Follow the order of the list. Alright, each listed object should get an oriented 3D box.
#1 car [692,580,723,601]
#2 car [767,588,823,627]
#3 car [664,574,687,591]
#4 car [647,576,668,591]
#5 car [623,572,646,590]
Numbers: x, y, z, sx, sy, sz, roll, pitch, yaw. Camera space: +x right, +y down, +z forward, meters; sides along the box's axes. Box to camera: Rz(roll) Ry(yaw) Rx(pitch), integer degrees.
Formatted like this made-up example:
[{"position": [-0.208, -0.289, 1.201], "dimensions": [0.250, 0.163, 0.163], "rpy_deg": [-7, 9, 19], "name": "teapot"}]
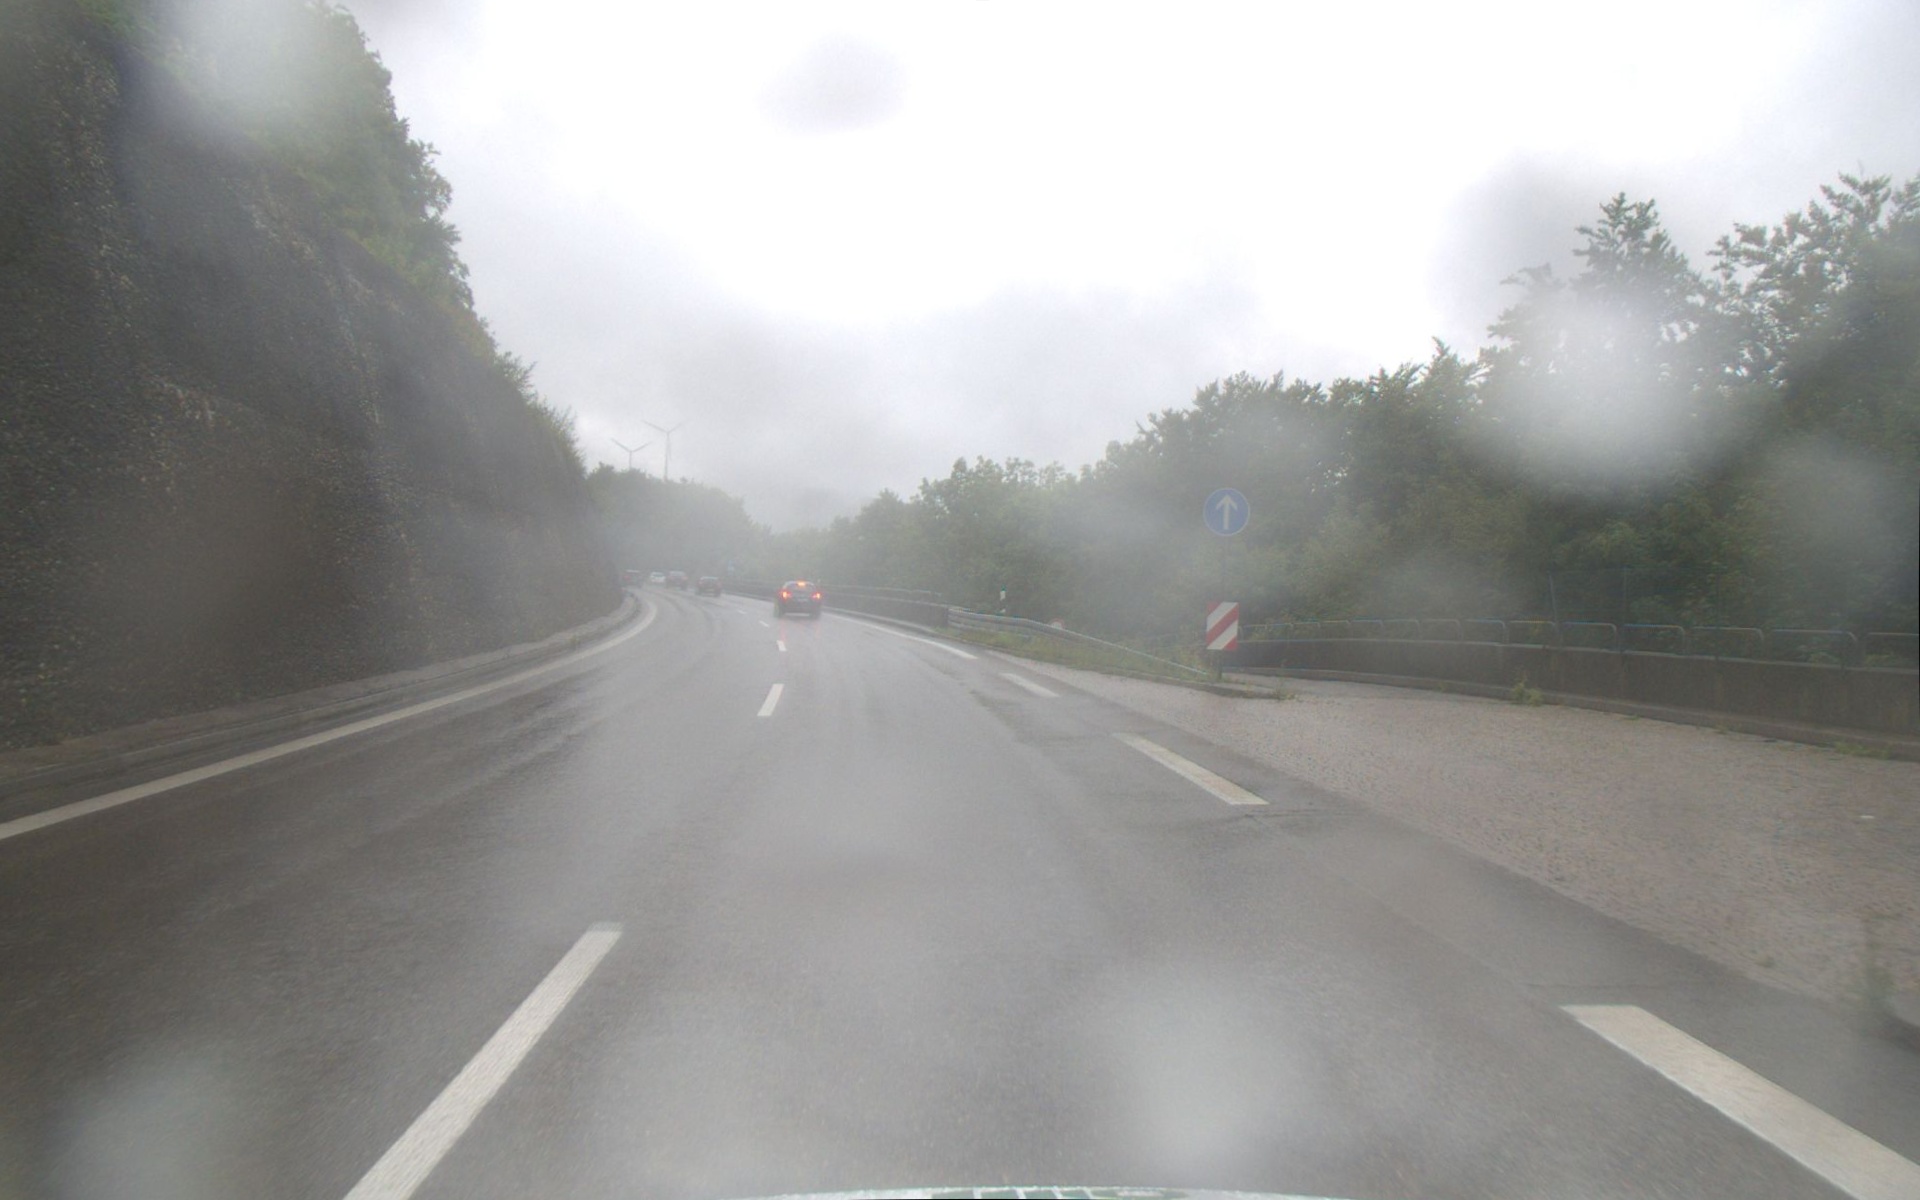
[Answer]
[{"position": [-19.774, -0.757, 129.446], "dimensions": [1.872, 1.525, 3.984], "rpy_deg": [2, 0, -15], "name": "car"}, {"position": [-7.007, 0.295, 69.963], "dimensions": [1.871, 1.525, 3.987], "rpy_deg": [2, 0, -13], "name": "car"}, {"position": [-27.167, -1.640, 157.824], "dimensions": [1.872, 1.525, 3.986], "rpy_deg": [2, 0, -14], "name": "car"}, {"position": [-32.687, -1.812, 178.767], "dimensions": [1.872, 1.525, 3.984], "rpy_deg": [2, 0, -15], "name": "car"}, {"position": [-30.443, -1.794, 154.561], "dimensions": [1.872, 1.525, 3.986], "rpy_deg": [2, 0, -14], "name": "car"}]
